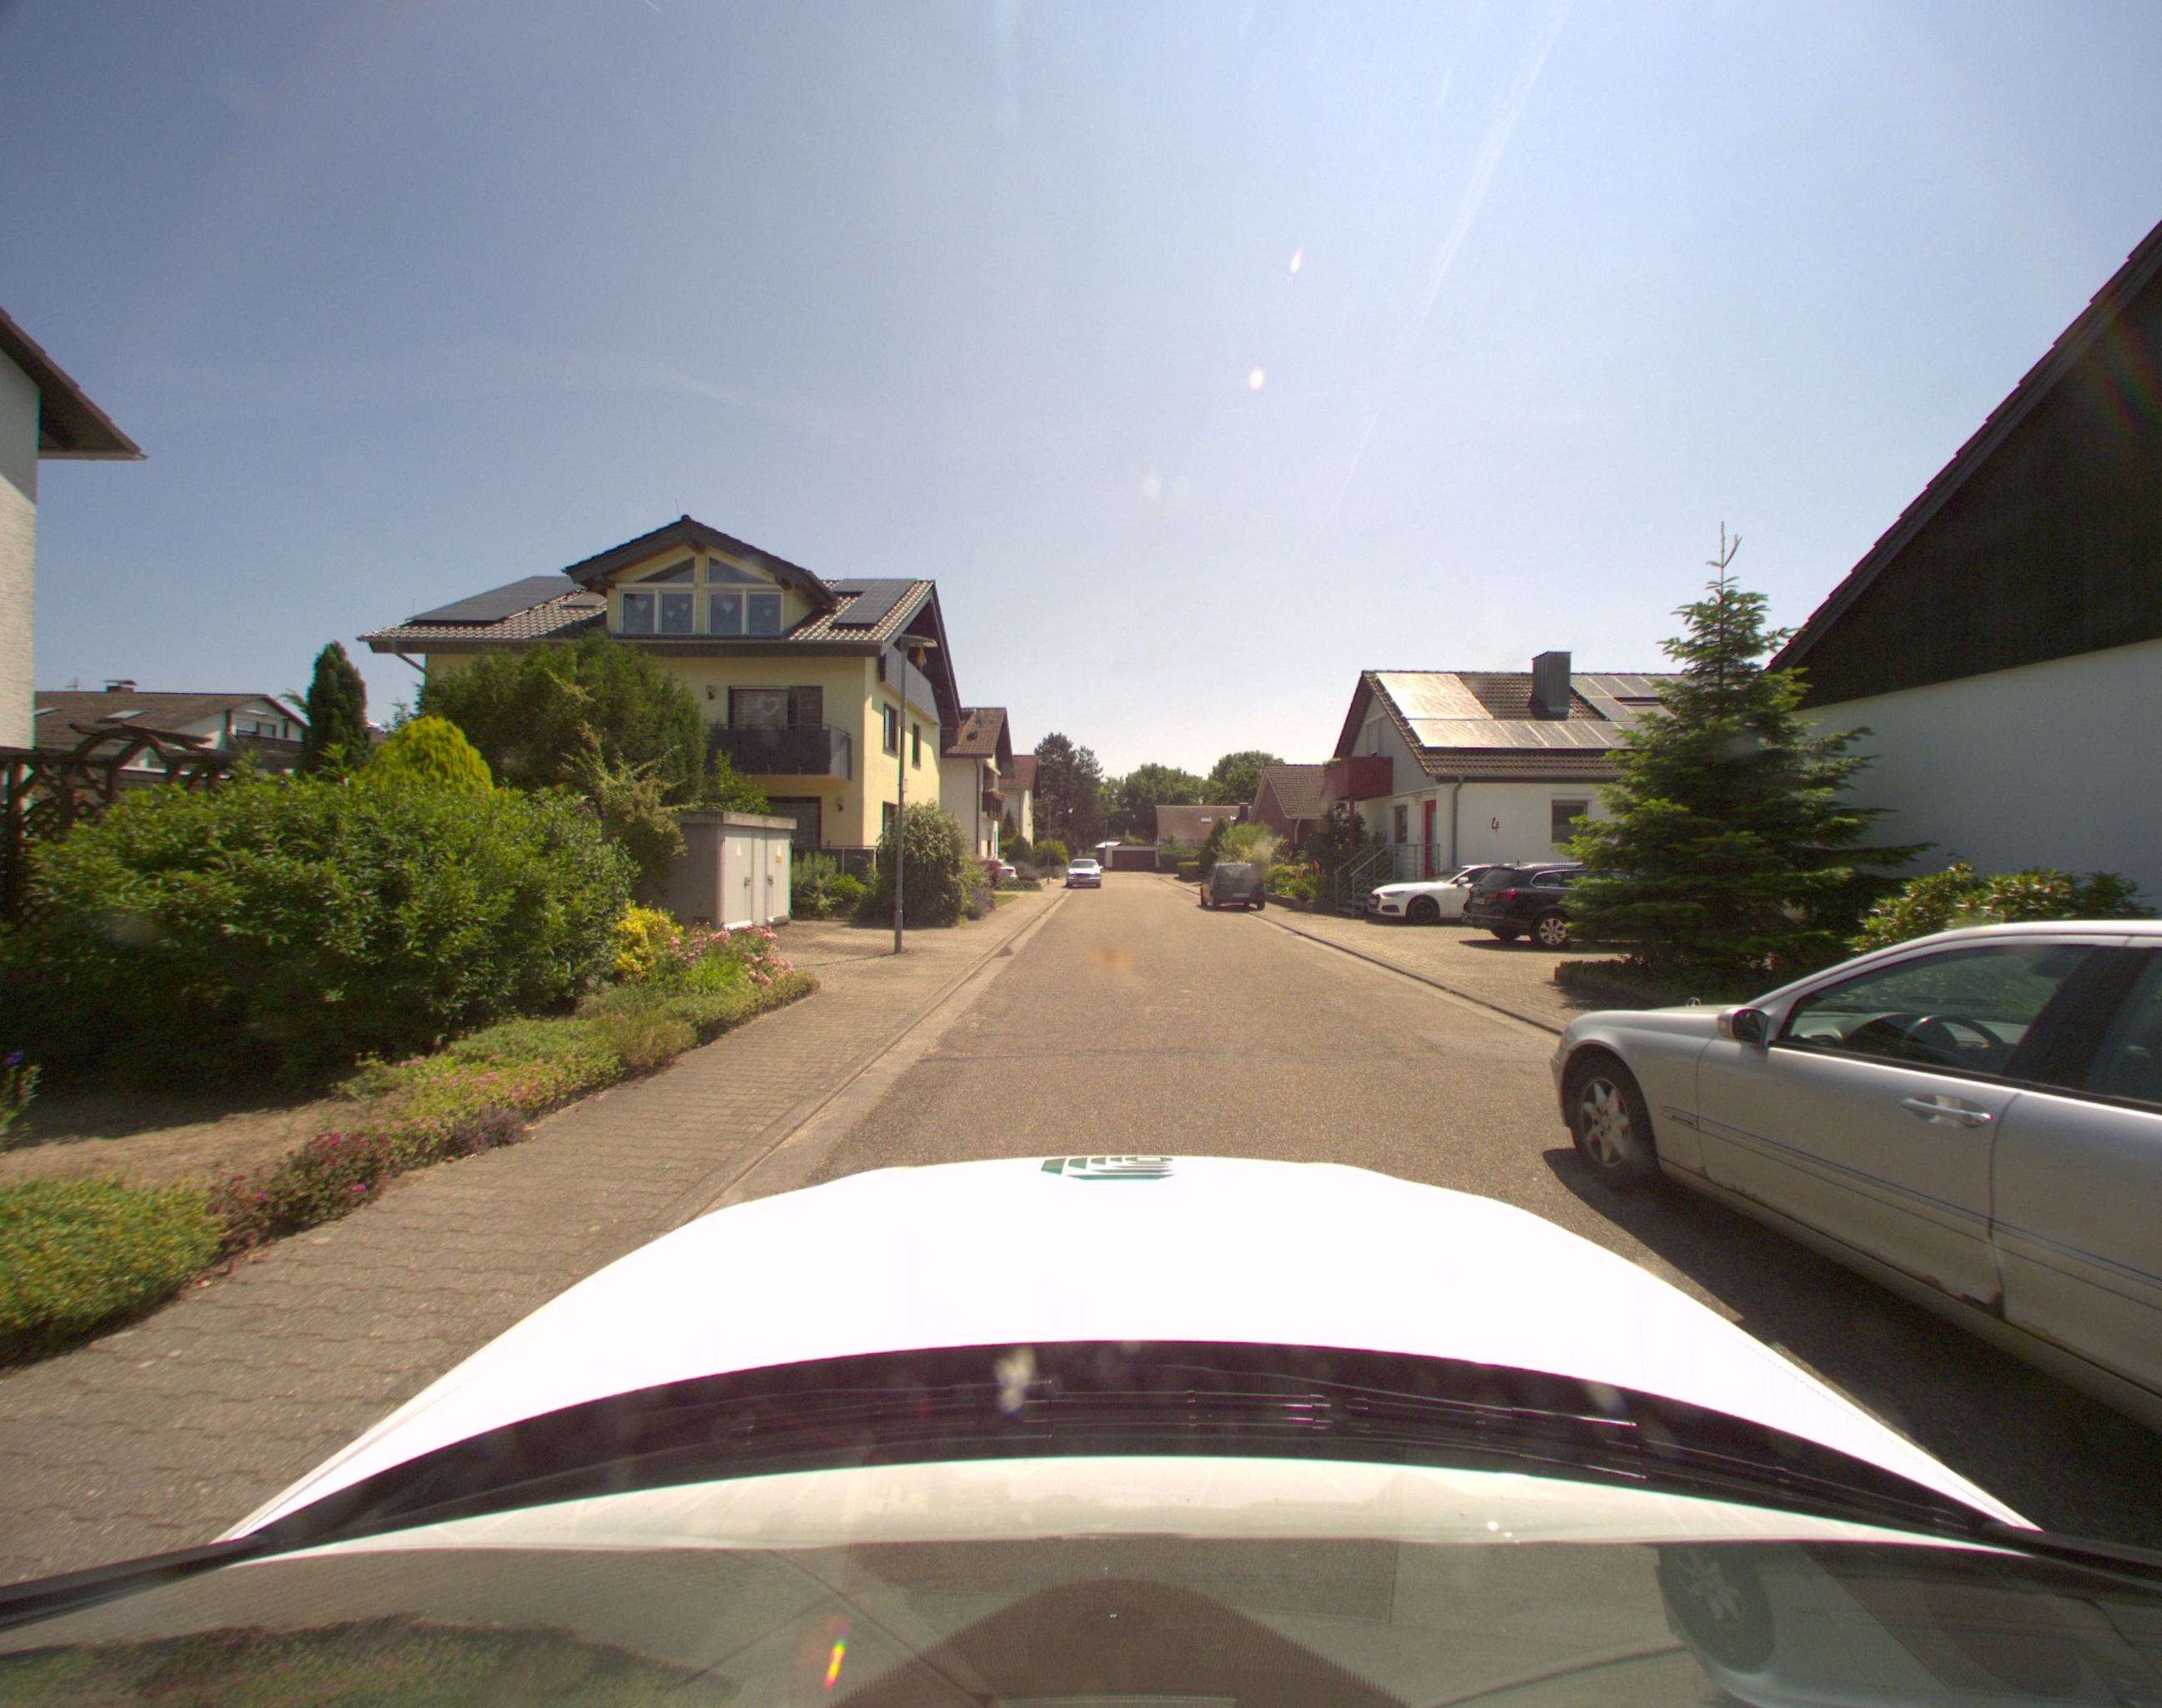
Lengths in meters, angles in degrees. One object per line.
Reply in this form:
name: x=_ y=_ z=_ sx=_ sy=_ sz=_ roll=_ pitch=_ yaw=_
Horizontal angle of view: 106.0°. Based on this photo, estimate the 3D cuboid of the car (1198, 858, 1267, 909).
car: x=4.746 y=0.886 z=26.002 sx=1.644 sy=1.440 sz=3.653 roll=1 pitch=0 yaw=2

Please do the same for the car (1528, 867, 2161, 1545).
car: x=3.259 y=0.808 z=2.368 sx=1.680 sy=1.460 sz=4.339 roll=1 pitch=0 yaw=2

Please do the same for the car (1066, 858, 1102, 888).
car: x=0.208 y=0.949 z=42.315 sx=1.692 sy=1.393 sz=4.339 roll=1 pitch=0 yaw=2

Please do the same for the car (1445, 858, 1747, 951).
car: x=9.153 y=0.860 z=14.773 sx=4.225 sy=1.486 sz=2.000 roll=1 pitch=0 yaw=1

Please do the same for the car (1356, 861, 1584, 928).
car: x=9.111 y=0.917 z=19.400 sx=4.518 sy=1.396 sz=1.953 roll=1 pitch=0 yaw=3

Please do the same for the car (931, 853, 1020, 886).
car: x=-4.906 y=0.708 z=38.391 sx=3.979 sy=1.420 sz=1.843 roll=1 pitch=0 yaw=-4
